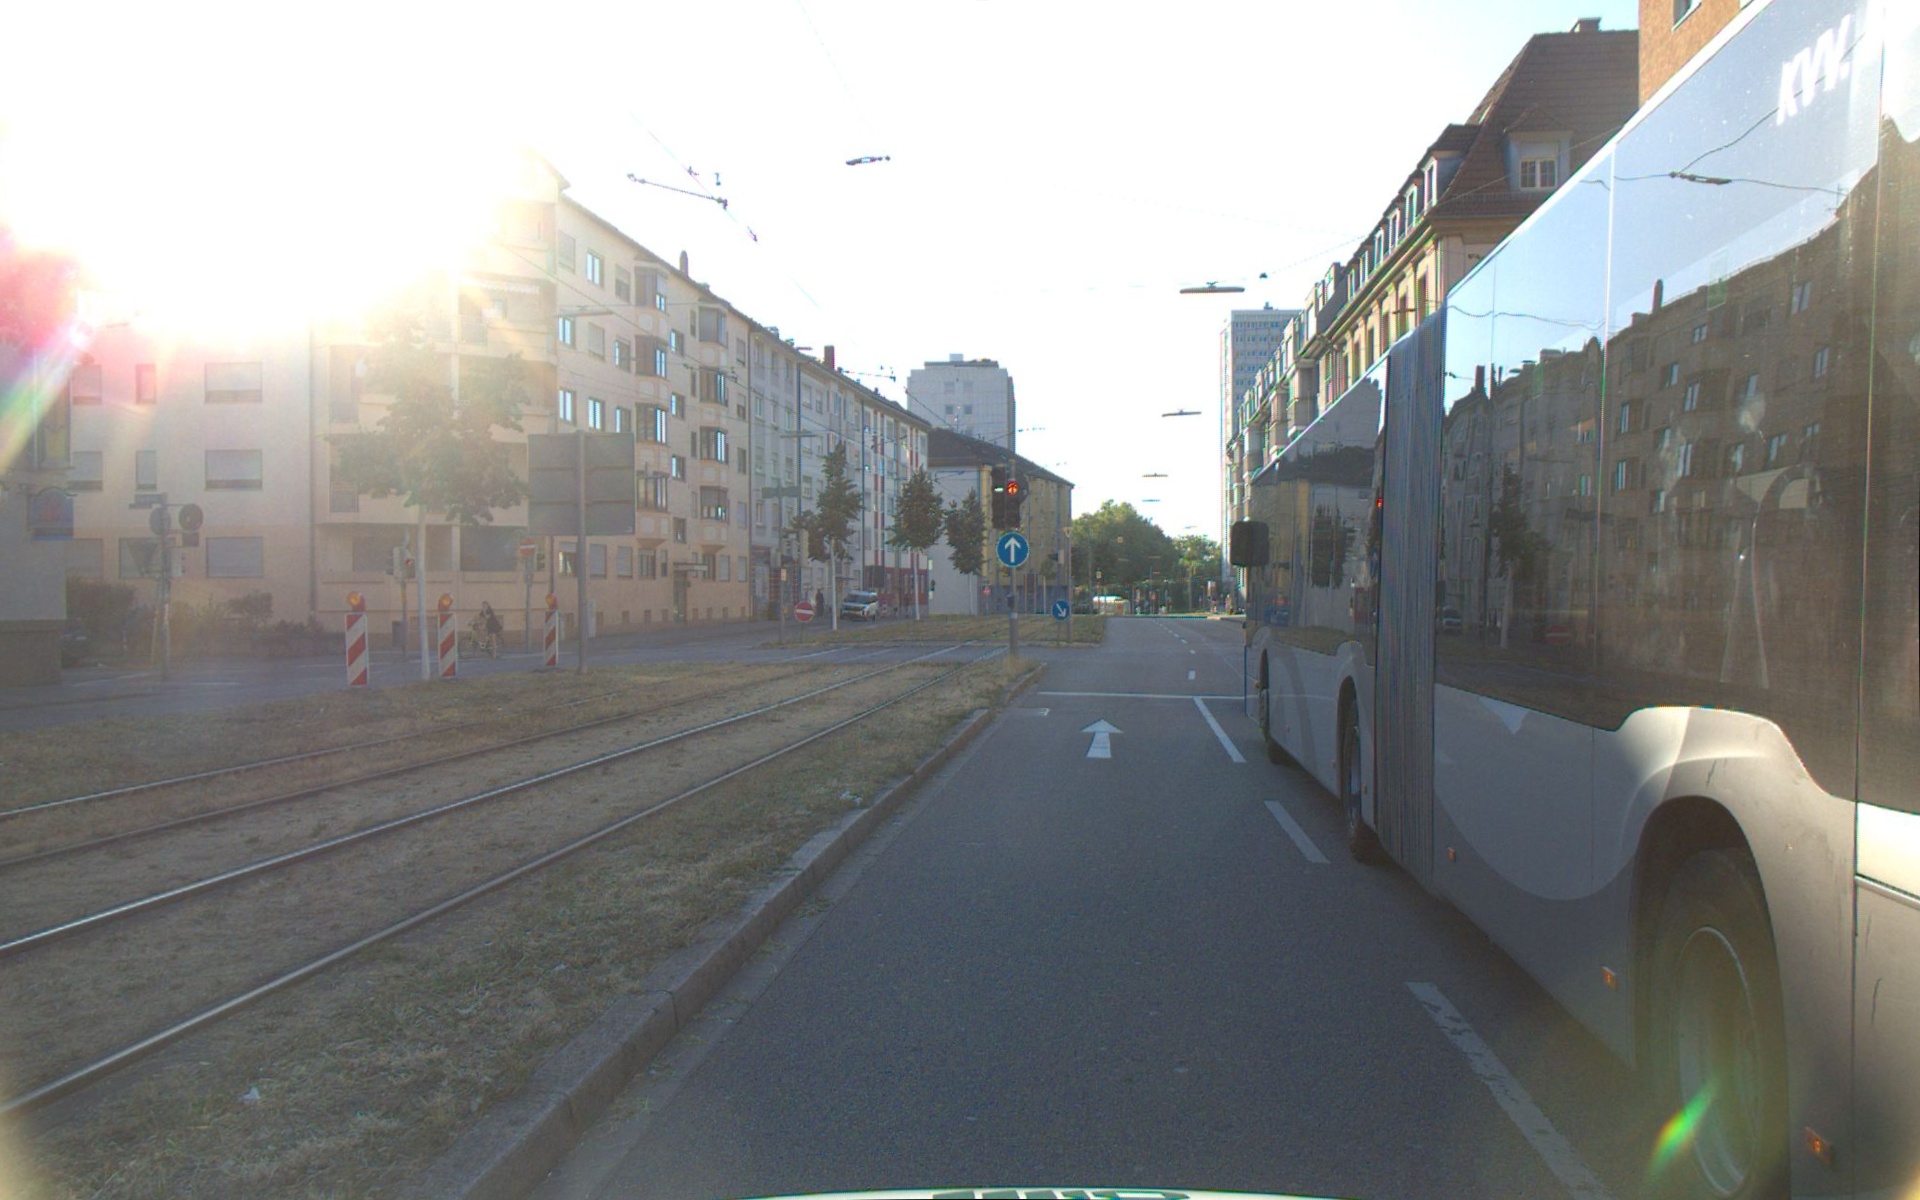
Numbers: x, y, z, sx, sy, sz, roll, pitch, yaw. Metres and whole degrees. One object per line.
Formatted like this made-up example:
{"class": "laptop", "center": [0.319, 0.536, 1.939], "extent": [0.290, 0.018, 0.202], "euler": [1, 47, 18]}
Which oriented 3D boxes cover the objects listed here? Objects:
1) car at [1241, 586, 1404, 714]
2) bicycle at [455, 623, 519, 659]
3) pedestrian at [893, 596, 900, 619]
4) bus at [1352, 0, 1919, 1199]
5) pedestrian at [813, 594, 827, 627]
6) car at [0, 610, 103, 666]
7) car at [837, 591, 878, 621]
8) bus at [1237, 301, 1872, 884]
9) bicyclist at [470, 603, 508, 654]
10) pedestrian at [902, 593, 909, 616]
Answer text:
{"class": "car", "center": [4.923, 0.626, 22.929], "extent": [1.732, 1.603, 4.088], "euler": [-1, 0, 6]}
{"class": "bicycle", "center": [-13.946, 1.210, 48.793], "extent": [0.519, 1.001, 1.876], "euler": [-1, 0, 36]}
{"class": "pedestrian", "center": [-4.759, 0.563, 123.949], "extent": [0.485, 1.687, 0.409], "euler": [-1, 0, 6]}
{"class": "bus", "center": [3.069, -0.051, 4.518], "extent": [2.681, 3.109, 8.859], "euler": [1, 0, 6]}
{"class": "pedestrian", "center": [-8.677, 0.635, 102.633], "extent": [0.770, 2.049, 0.891], "euler": [-1, 0, 2]}
{"class": "car", "center": [-25.860, 1.043, 45.235], "extent": [3.880, 1.465, 1.789], "euler": [-1, 0, -4]}
{"class": "car", "center": [-6.466, 0.383, 104.537], "extent": [1.773, 1.829, 4.248], "euler": [1, 0, 7]}
{"class": "bus", "center": [3.951, -0.074, 13.488], "extent": [2.681, 3.109, 9.137], "euler": [1, 0, 6]}
{"class": "bicyclist", "center": [-13.907, 0.835, 48.858], "extent": [0.519, 1.472, 0.962], "euler": [-1, 0, 36]}
{"class": "pedestrian", "center": [-4.080, 0.317, 124.023], "extent": [0.485, 1.687, 0.409], "euler": [-1, 0, 6]}
